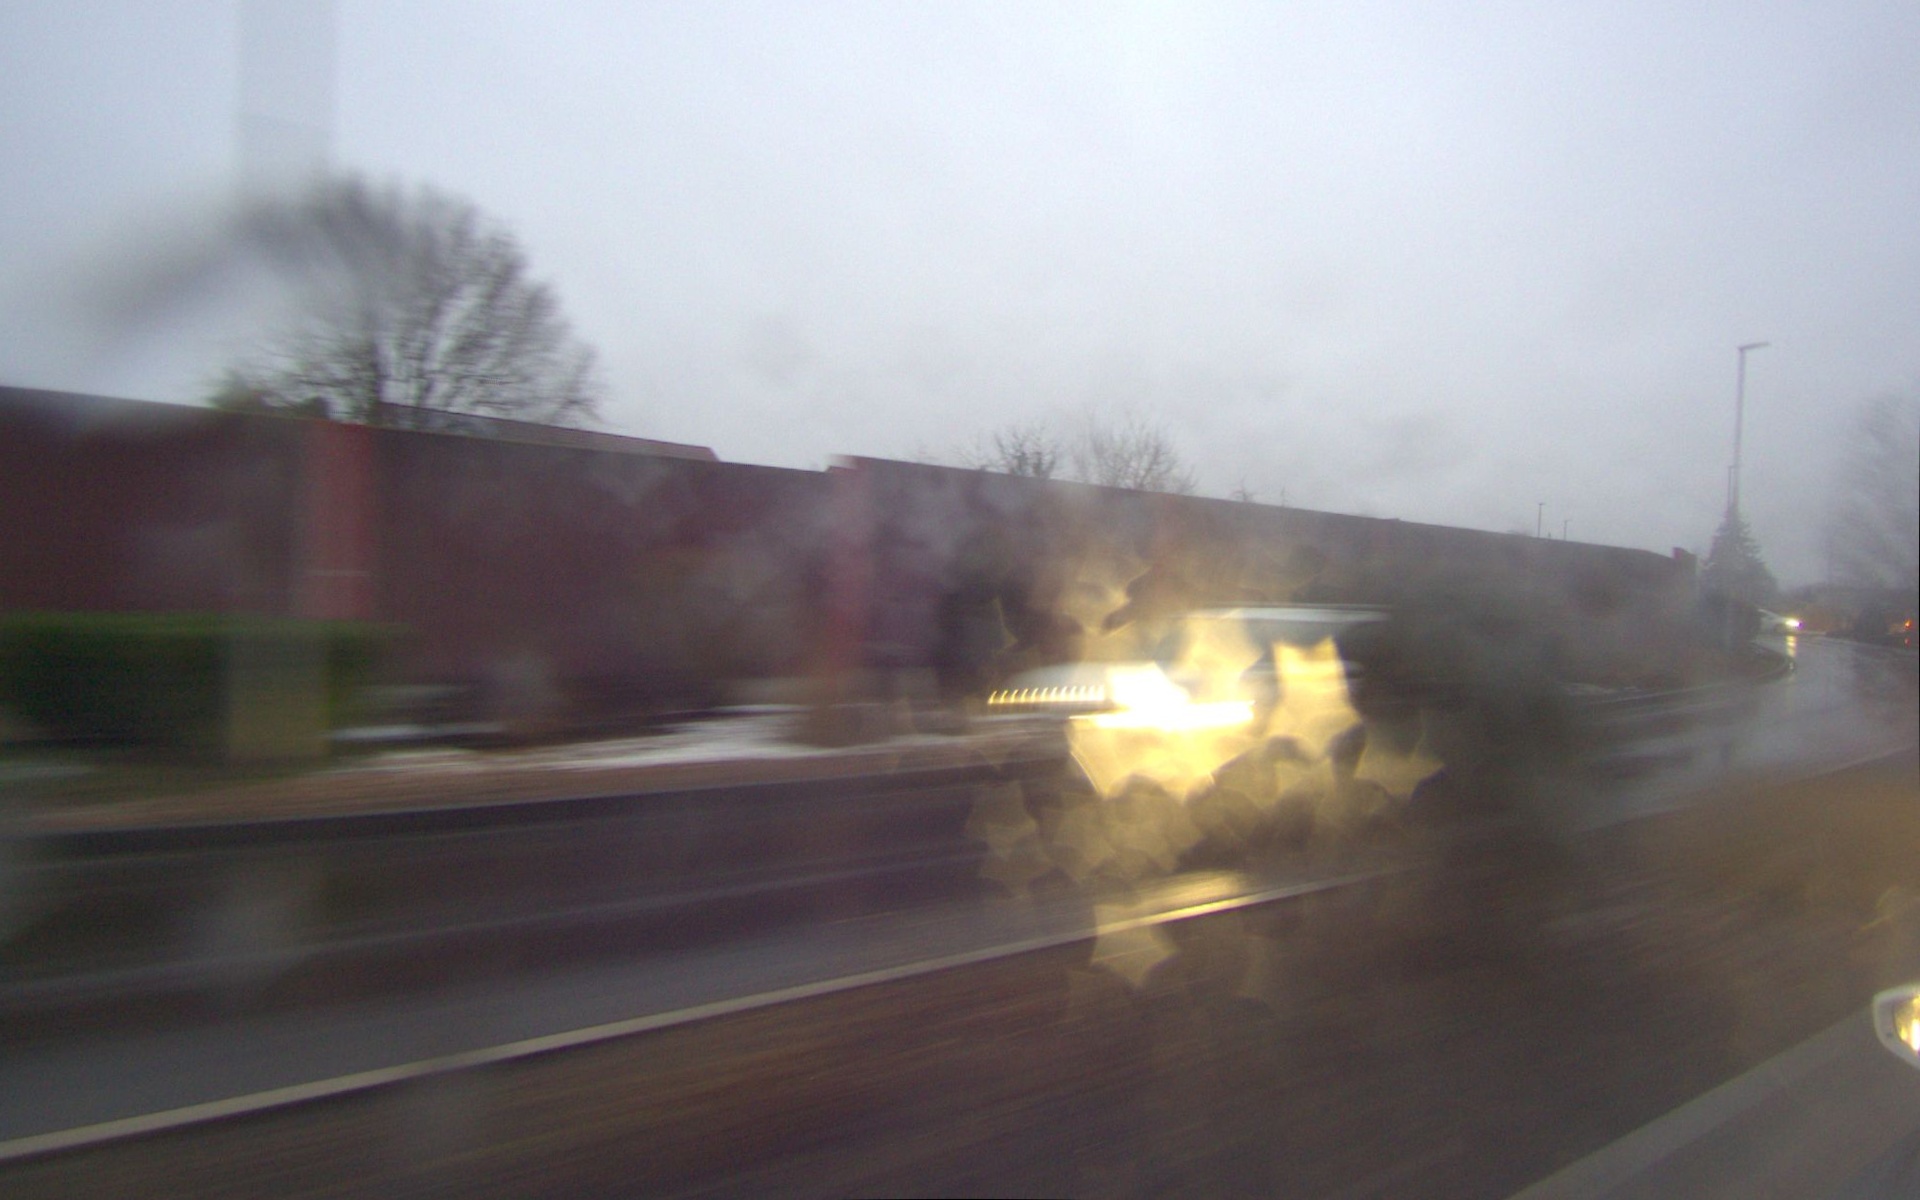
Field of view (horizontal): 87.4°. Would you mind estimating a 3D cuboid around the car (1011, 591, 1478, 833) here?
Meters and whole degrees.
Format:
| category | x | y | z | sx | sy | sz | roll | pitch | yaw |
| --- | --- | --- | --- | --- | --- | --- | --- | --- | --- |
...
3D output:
| category | x | y | z | sx | sy | sz | roll | pitch | yaw |
| --- | --- | --- | --- | --- | --- | --- | --- | --- | --- |
| car | 2.479 | 0.800 | 8.441 | 3.845 | 1.599 | 1.683 | 2 | -1 | -34 |
